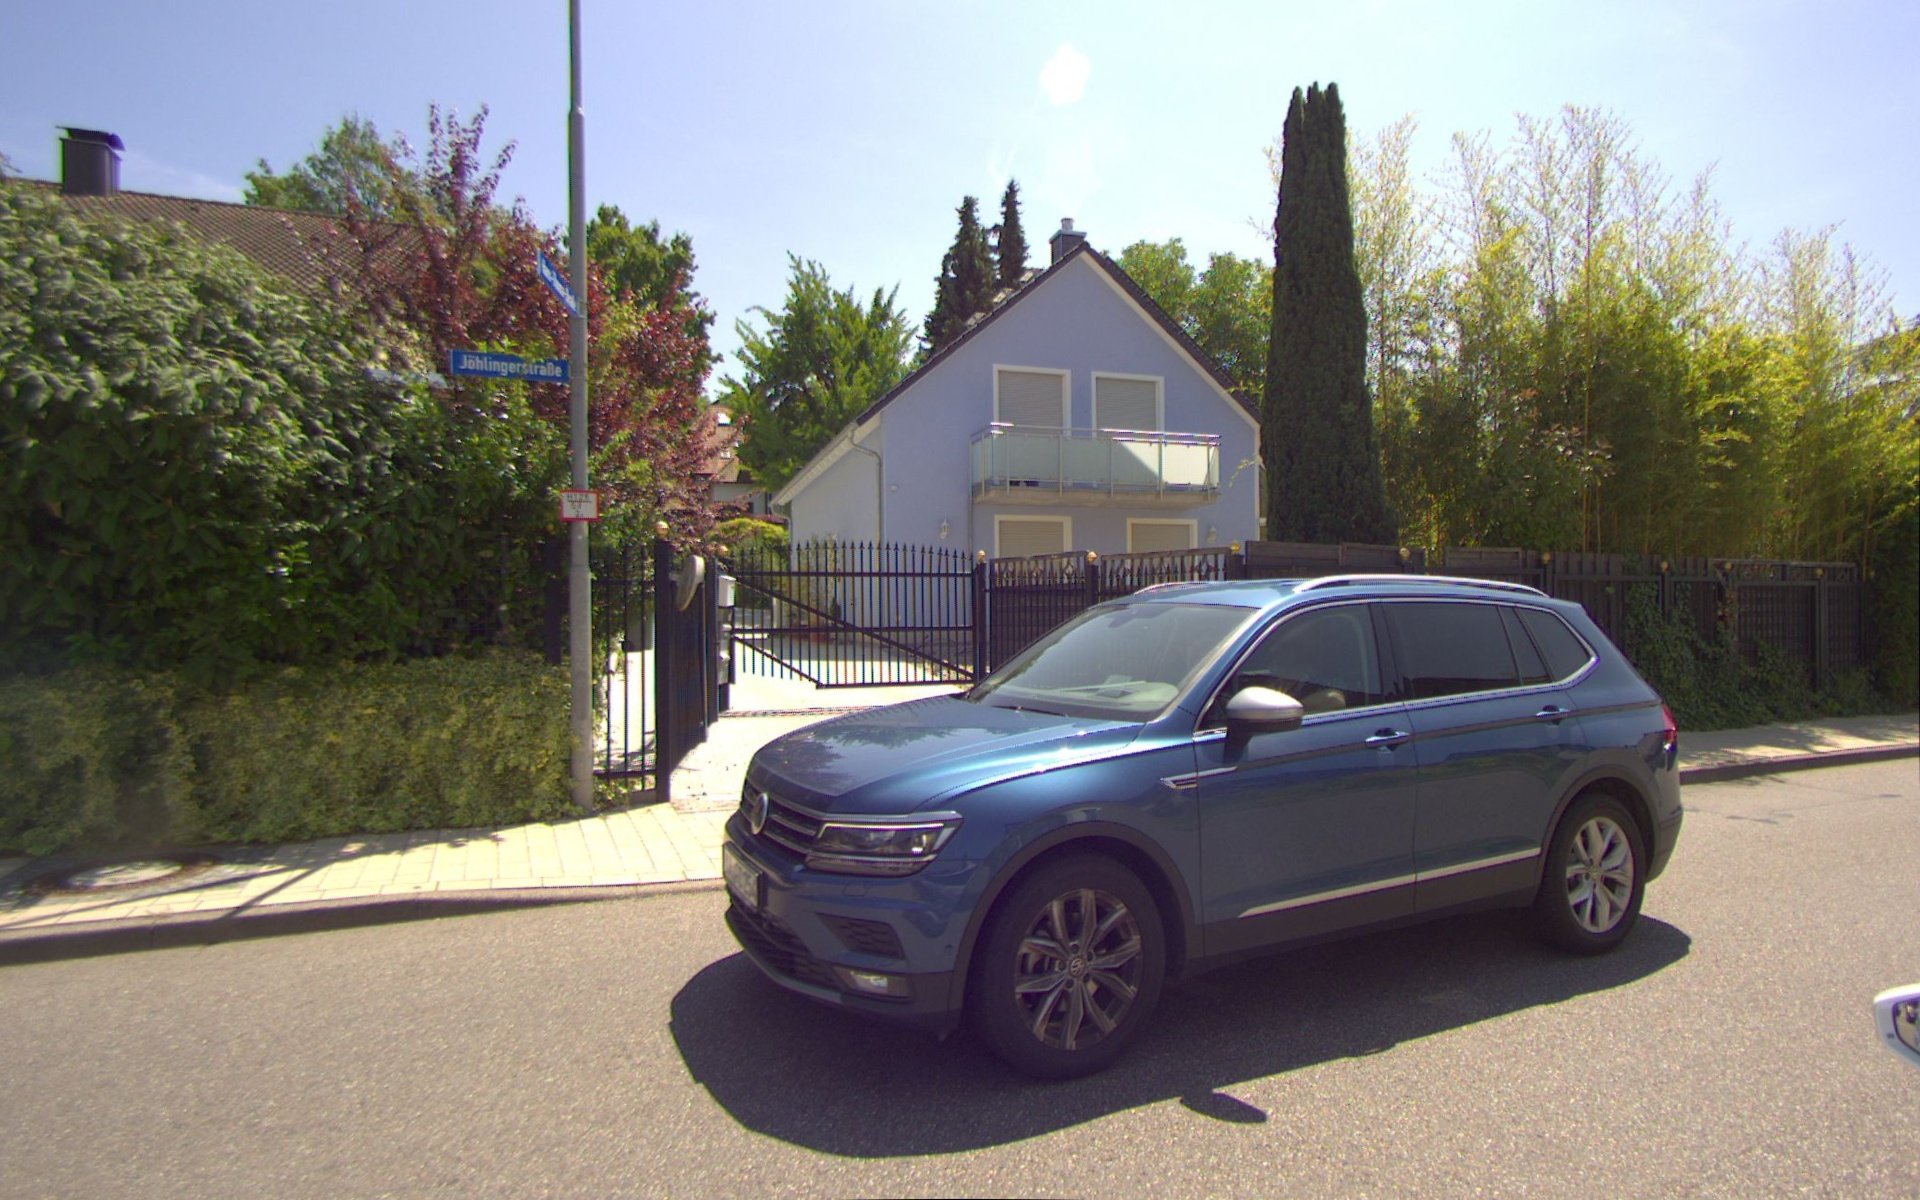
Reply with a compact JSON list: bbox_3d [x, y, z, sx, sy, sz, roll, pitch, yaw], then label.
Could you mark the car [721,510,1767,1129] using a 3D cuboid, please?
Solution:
[{"bbox_3d":[1.398,0.670,4.603,4.554,1.667,1.882,1,-2,-27],"label":"car"}]
